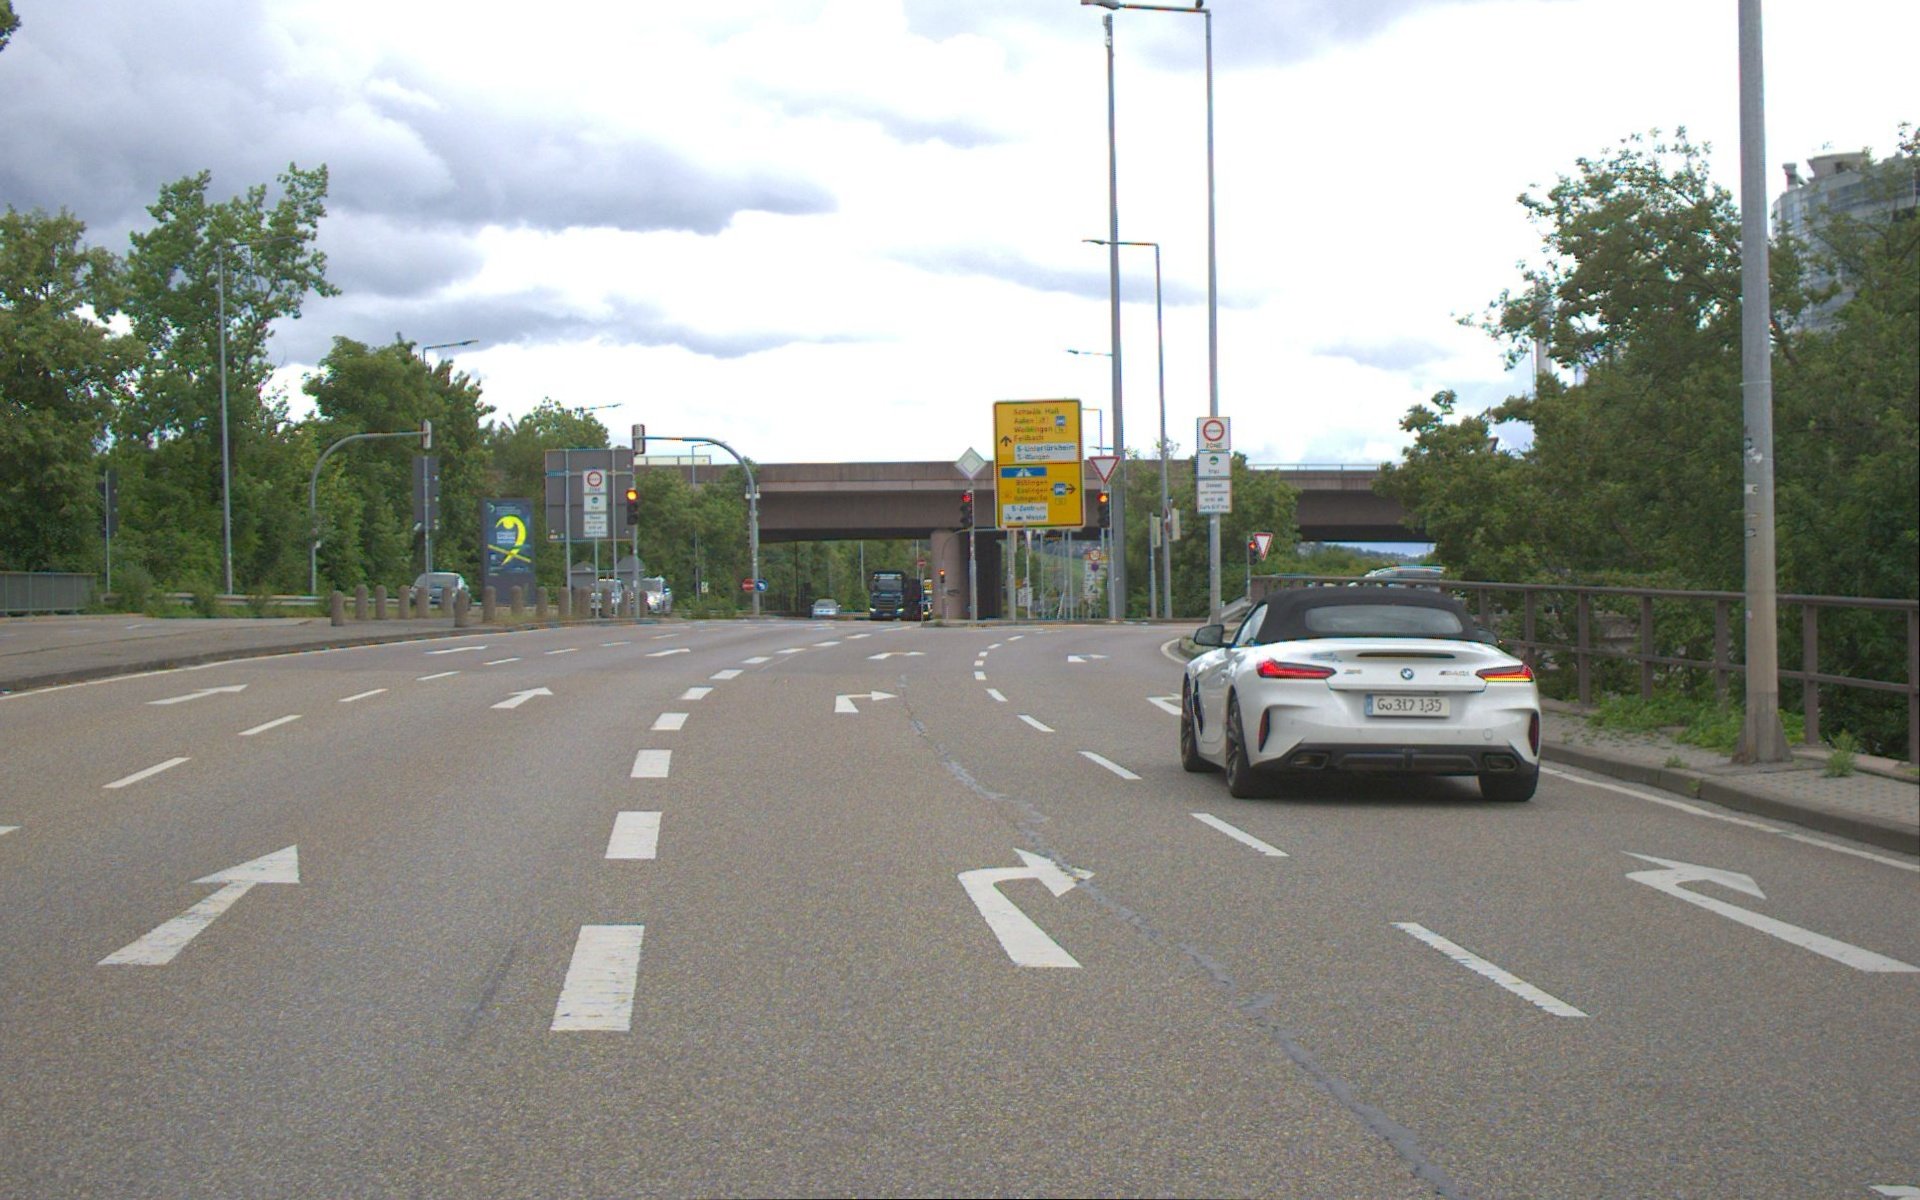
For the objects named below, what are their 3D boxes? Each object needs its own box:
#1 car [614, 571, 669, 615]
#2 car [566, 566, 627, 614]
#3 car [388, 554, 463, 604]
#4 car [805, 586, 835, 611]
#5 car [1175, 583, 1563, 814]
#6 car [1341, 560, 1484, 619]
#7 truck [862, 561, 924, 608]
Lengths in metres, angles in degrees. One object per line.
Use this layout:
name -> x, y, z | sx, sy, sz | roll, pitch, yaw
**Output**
car -> -12.242, -0.267, 132.164 | 1.771, 1.627, 3.825 | 1, 0, -1
car -> -12.990, -0.363, 123.001 | 1.771, 1.639, 3.825 | 1, 0, -1
car -> -16.601, -0.661, 106.900 | 1.760, 1.479, 3.484 | 2, 0, -1
car -> -9.187, -0.113, 225.428 | 1.741, 1.532, 3.671 | 1, 1, 2
car -> 2.512, 0.565, 22.007 | 1.874, 1.305, 3.873 | 1, 1, -2
car -> 14.451, -0.329, 110.059 | 4.372, 1.752, 2.000 | -1, -2, 3
truck -> -4.720, -1.048, 243.843 | 2.924, 3.135, 10.108 | 1, 0, 7
